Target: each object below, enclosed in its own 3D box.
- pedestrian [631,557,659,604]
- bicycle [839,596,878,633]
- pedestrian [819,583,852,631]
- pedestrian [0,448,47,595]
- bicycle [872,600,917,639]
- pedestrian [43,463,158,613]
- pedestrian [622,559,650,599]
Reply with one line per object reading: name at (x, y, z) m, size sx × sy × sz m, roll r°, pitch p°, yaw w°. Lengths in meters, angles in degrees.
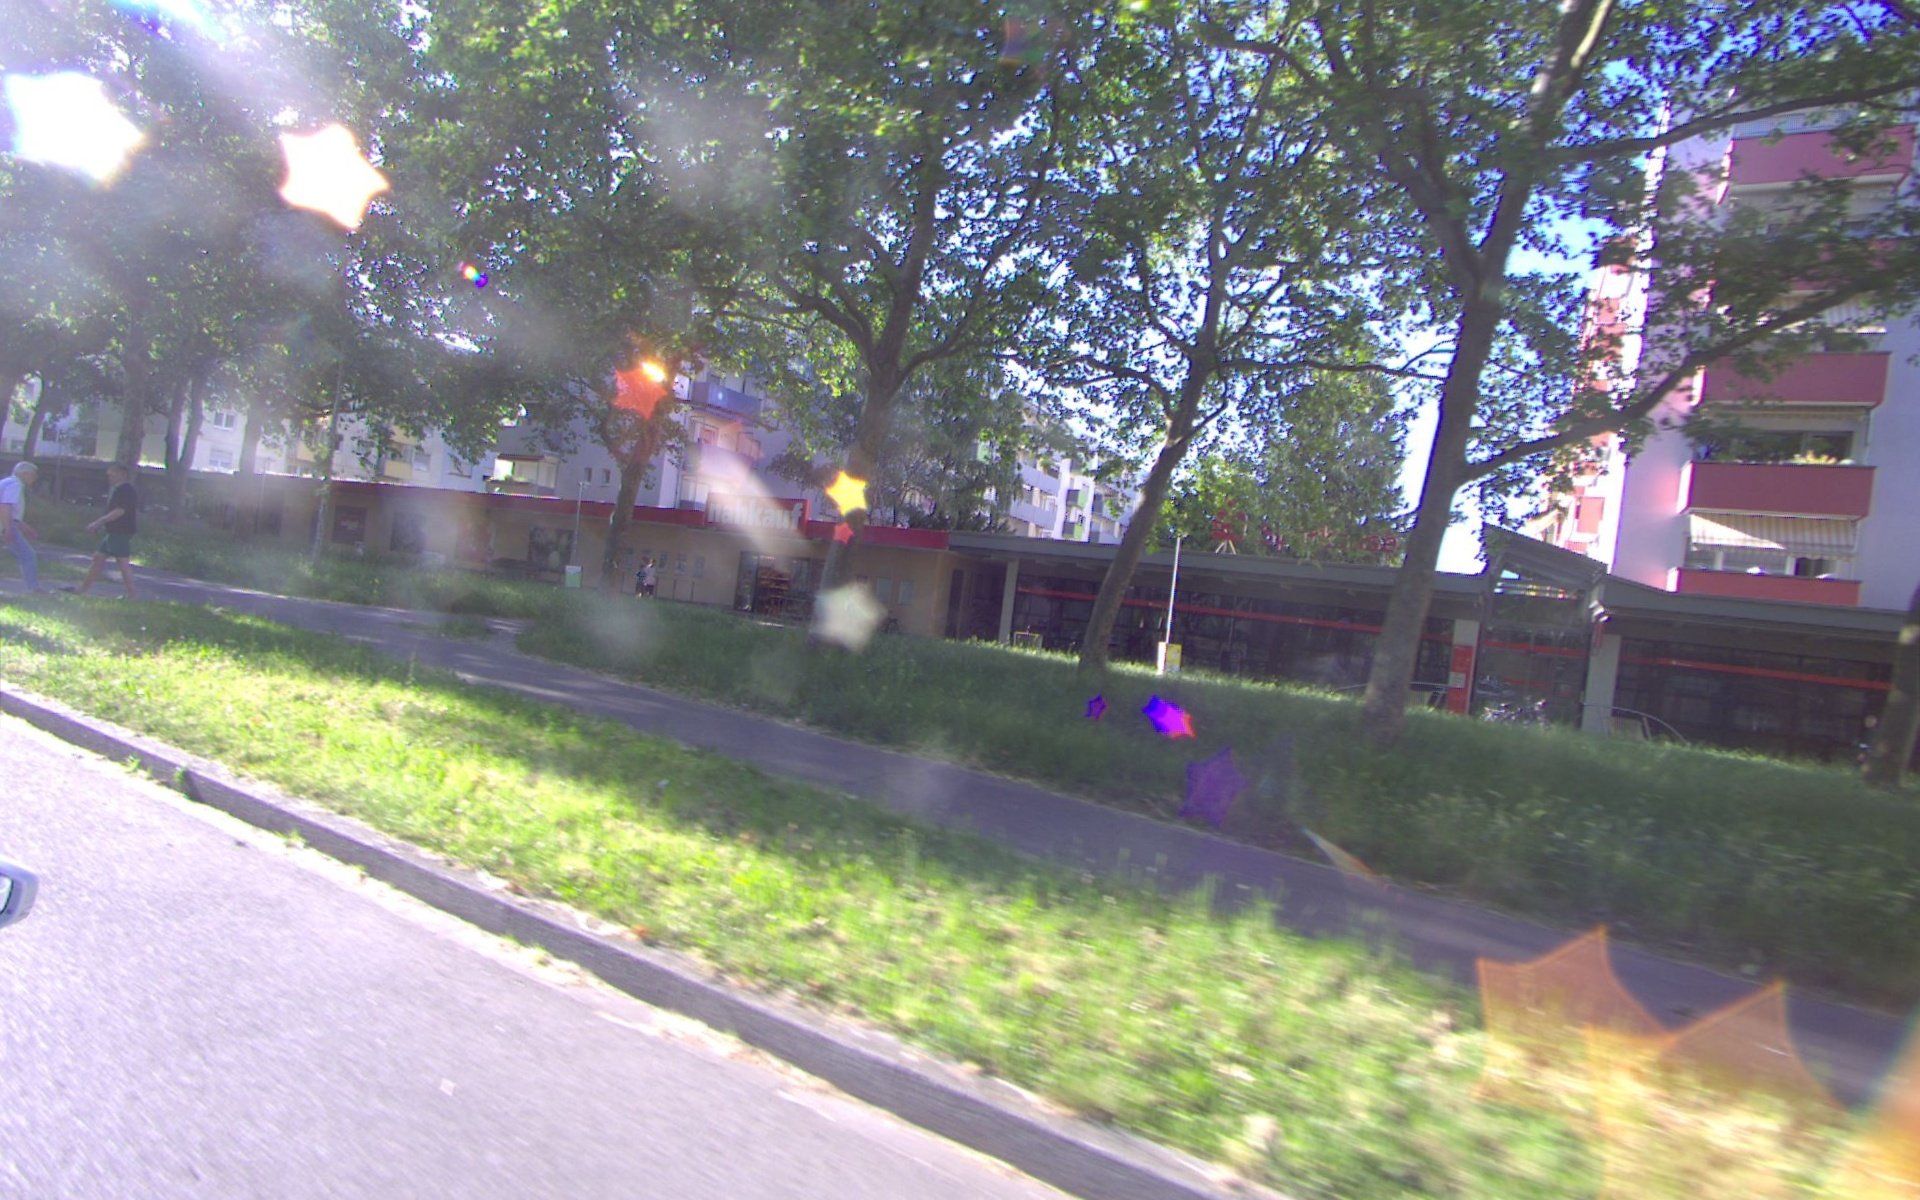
pedestrian at (-12.405, -0.766, 39.585) m, size 0.703 × 1.721 × 0.496 m, roll 8°, pitch 1°, yaw 26°
bicycle at (-3.745, 0.524, 37.068) m, size 0.593 × 1.193 × 1.836 m, roll 8°, pitch -1°, yaw -31°
pedestrian at (-4.487, 0.263, 36.264) m, size 0.703 × 1.604 × 0.672 m, roll 8°, pitch 1°, yaw 26°
pedestrian at (-11.994, -1.005, 12.480) m, size 0.839 × 1.743 × 0.819 m, roll 6°, pitch 1°, yaw -44°
bicycle at (-2.379, 0.701, 36.443) m, size 0.594 × 1.193 × 1.832 m, roll 8°, pitch -1°, yaw -37°
pedestrian at (-11.906, -0.848, 13.947) m, size 0.912 × 1.908 × 0.799 m, roll 8°, pitch 1°, yaw 30°
pedestrian at (-12.566, -0.806, 39.019) m, size 0.703 × 1.448 × 0.532 m, roll 8°, pitch 1°, yaw 26°
